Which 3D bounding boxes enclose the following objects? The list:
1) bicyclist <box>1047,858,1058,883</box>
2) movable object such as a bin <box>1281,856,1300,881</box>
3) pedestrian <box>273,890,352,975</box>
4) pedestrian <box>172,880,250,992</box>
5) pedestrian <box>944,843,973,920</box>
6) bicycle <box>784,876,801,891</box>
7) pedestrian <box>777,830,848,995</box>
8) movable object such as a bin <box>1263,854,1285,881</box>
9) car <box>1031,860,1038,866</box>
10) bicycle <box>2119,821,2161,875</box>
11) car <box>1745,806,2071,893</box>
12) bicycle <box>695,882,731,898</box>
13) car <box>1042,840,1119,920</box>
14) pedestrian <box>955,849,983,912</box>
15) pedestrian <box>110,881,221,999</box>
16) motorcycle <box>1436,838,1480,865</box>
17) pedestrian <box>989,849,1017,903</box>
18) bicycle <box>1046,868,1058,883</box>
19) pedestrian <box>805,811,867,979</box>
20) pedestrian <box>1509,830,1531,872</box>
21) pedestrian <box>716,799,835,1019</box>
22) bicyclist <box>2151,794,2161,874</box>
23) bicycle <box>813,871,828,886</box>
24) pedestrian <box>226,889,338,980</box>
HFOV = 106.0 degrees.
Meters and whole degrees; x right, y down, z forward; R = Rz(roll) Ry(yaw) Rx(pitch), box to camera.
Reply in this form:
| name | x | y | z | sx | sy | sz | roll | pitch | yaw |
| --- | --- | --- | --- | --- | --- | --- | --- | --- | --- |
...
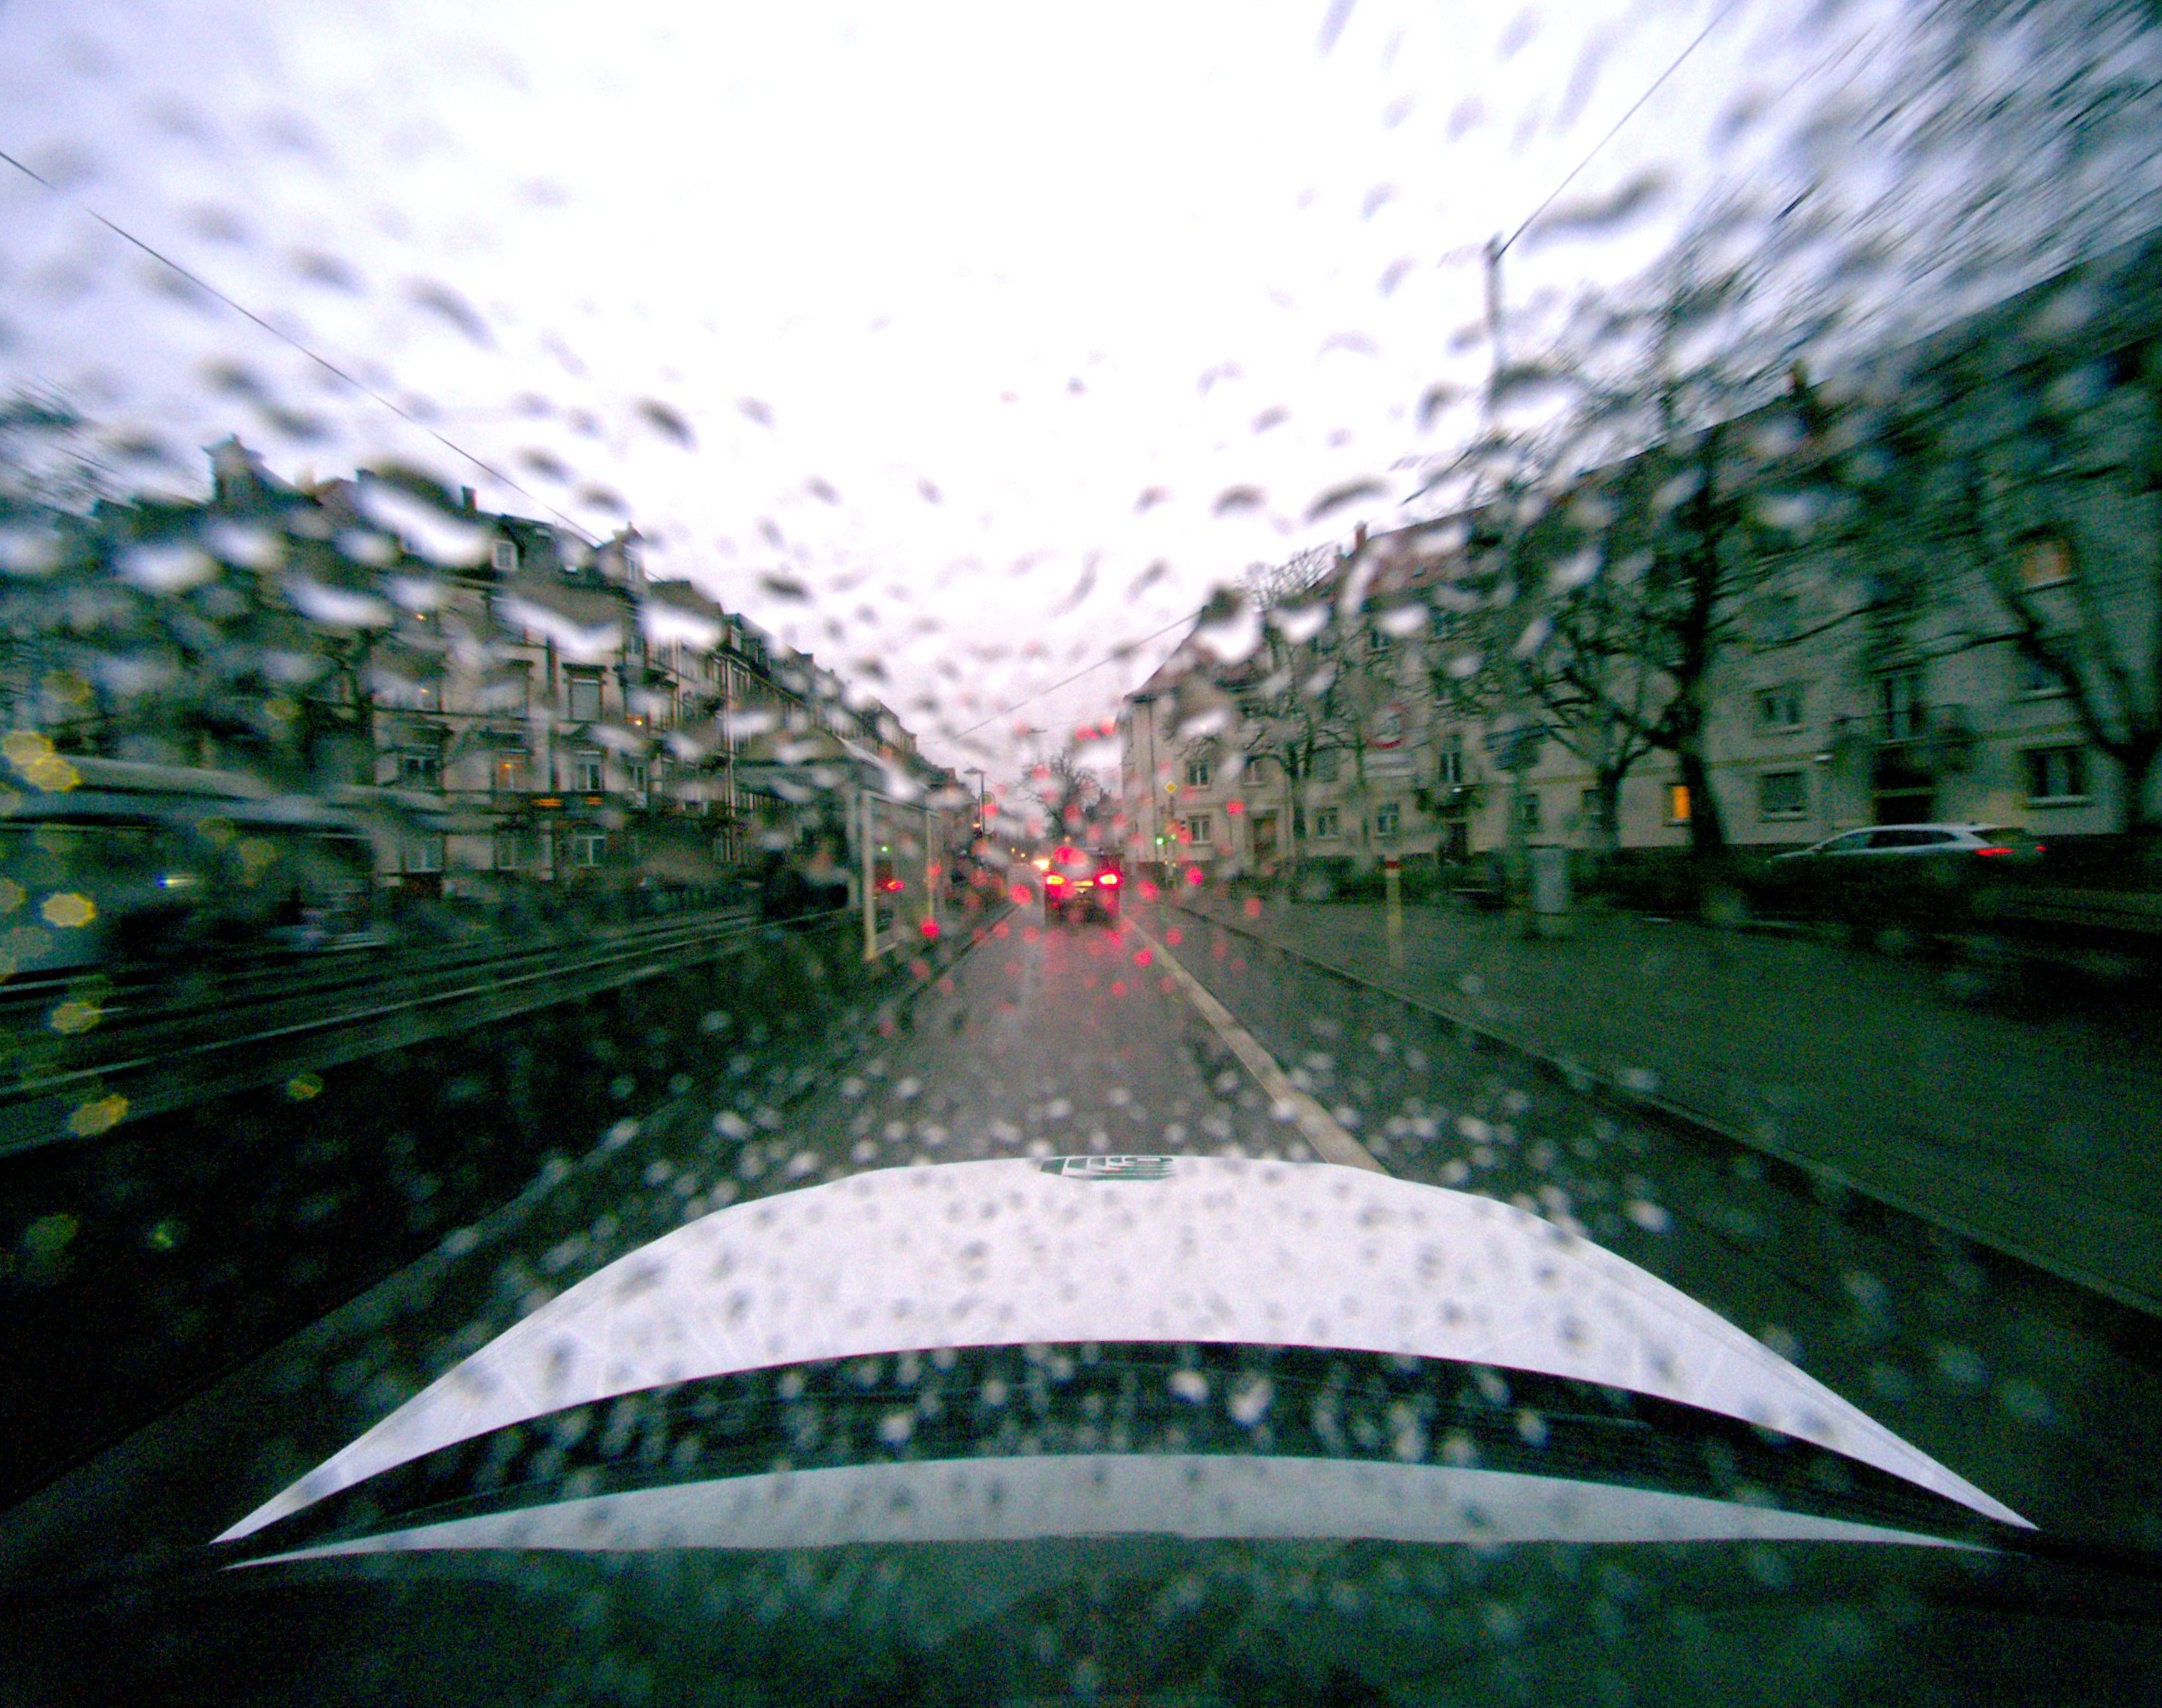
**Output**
| name | x | y | z | sx | sy | sz | roll | pitch | yaw |
| --- | --- | --- | --- | --- | --- | --- | --- | --- | --- |
| bicyclist | -2.017 | 1.130 | 57.281 | 0.728 | 1.736 | 0.765 | -2 | -1 | 0 |
| movable object such as a bin | 9.669 | 0.656 | 37.545 | 0.692 | 1.120 | 0.542 | 0 | -1 | 41 |
| pedestrian | -11.530 | 1.170 | 12.235 | 0.650 | 1.218 | 0.517 | 1 | -1 | -2 |
| pedestrian | -11.276 | 1.054 | 10.567 | 0.471 | 1.403 | 0.453 | 1 | -1 | -1 |
| pedestrian | -2.917 | 0.644 | 19.415 | 0.555 | 1.808 | 0.571 | 1 | -1 | 0 |
| bicycle | -18.190 | 1.863 | 51.387 | 0.398 | 0.862 | 1.849 | -2 | 0 | 0 |
| pedestrian | -2.929 | 0.620 | 8.935 | 0.555 | 1.741 | 0.571 | 1 | -1 | 0 |
| movable object such as a bin | 9.042 | 0.643 | 38.077 | 0.843 | 1.252 | 0.525 | 0 | -1 | 41 |
| car | -14.902 | 2.959 | 259.250 | 1.918 | 1.720 | 3.998 | -2 | 0 | -1 |
| bicycle | 25.846 | -0.151 | 19.102 | 0.465 | 1.291 | 1.913 | -2 | 0 | -1 |
| car | 18.012 | -0.052 | 18.134 | 1.896 | 1.510 | 4.731 | -6 | 0 | -14 |
| bicycle | -20.468 | 1.984 | 45.338 | 0.395 | 0.759 | 1.823 | -3 | 0 | 35 |
| car | 0.007 | 0.635 | 21.249 | 1.796 | 1.871 | 4.018 | 1 | 0 | 1 |
| pedestrian | -3.093 | 0.714 | 22.505 | 0.655 | 1.708 | 0.571 | 1 | -1 | -1 |
| pedestrian | -11.355 | 1.049 | 10.119 | 0.682 | 1.403 | 0.578 | 1 | -1 | -1 |
| motorcycle | 16.202 | -0.107 | 34.986 | 0.572 | 1.105 | 1.585 | -5 | 1 | -37 |
| pedestrian | -2.843 | 0.787 | 29.731 | 0.680 | 1.917 | 0.722 | 0 | -1 | 41 |
| bicycle | -2.010 | 1.528 | 57.307 | 0.729 | 1.007 | 1.763 | -2 | -1 | 0 |
| pedestrian | -2.979 | 0.491 | 9.944 | 0.555 | 1.987 | 0.571 | 1 | -1 | 0 |
| pedestrian | 17.727 | -0.131 | 32.916 | 0.706 | 1.660 | 0.692 | -3 | 0 | 27 |
| pedestrian | -2.816 | 0.493 | 7.570 | 0.851 | 1.956 | 0.571 | 1 | -1 | -1 |
| bicyclist | 25.848 | -0.476 | 19.117 | 0.465 | 1.886 | 0.679 | -2 | -1 | -1 |
| bicycle | -18.005 | 1.670 | 56.224 | 0.415 | 1.007 | 1.849 | -2 | -1 | 0 |
| pedestrian | -11.455 | 1.147 | 11.701 | 1.053 | 1.254 | 0.506 | 1 | -1 | -2 |
